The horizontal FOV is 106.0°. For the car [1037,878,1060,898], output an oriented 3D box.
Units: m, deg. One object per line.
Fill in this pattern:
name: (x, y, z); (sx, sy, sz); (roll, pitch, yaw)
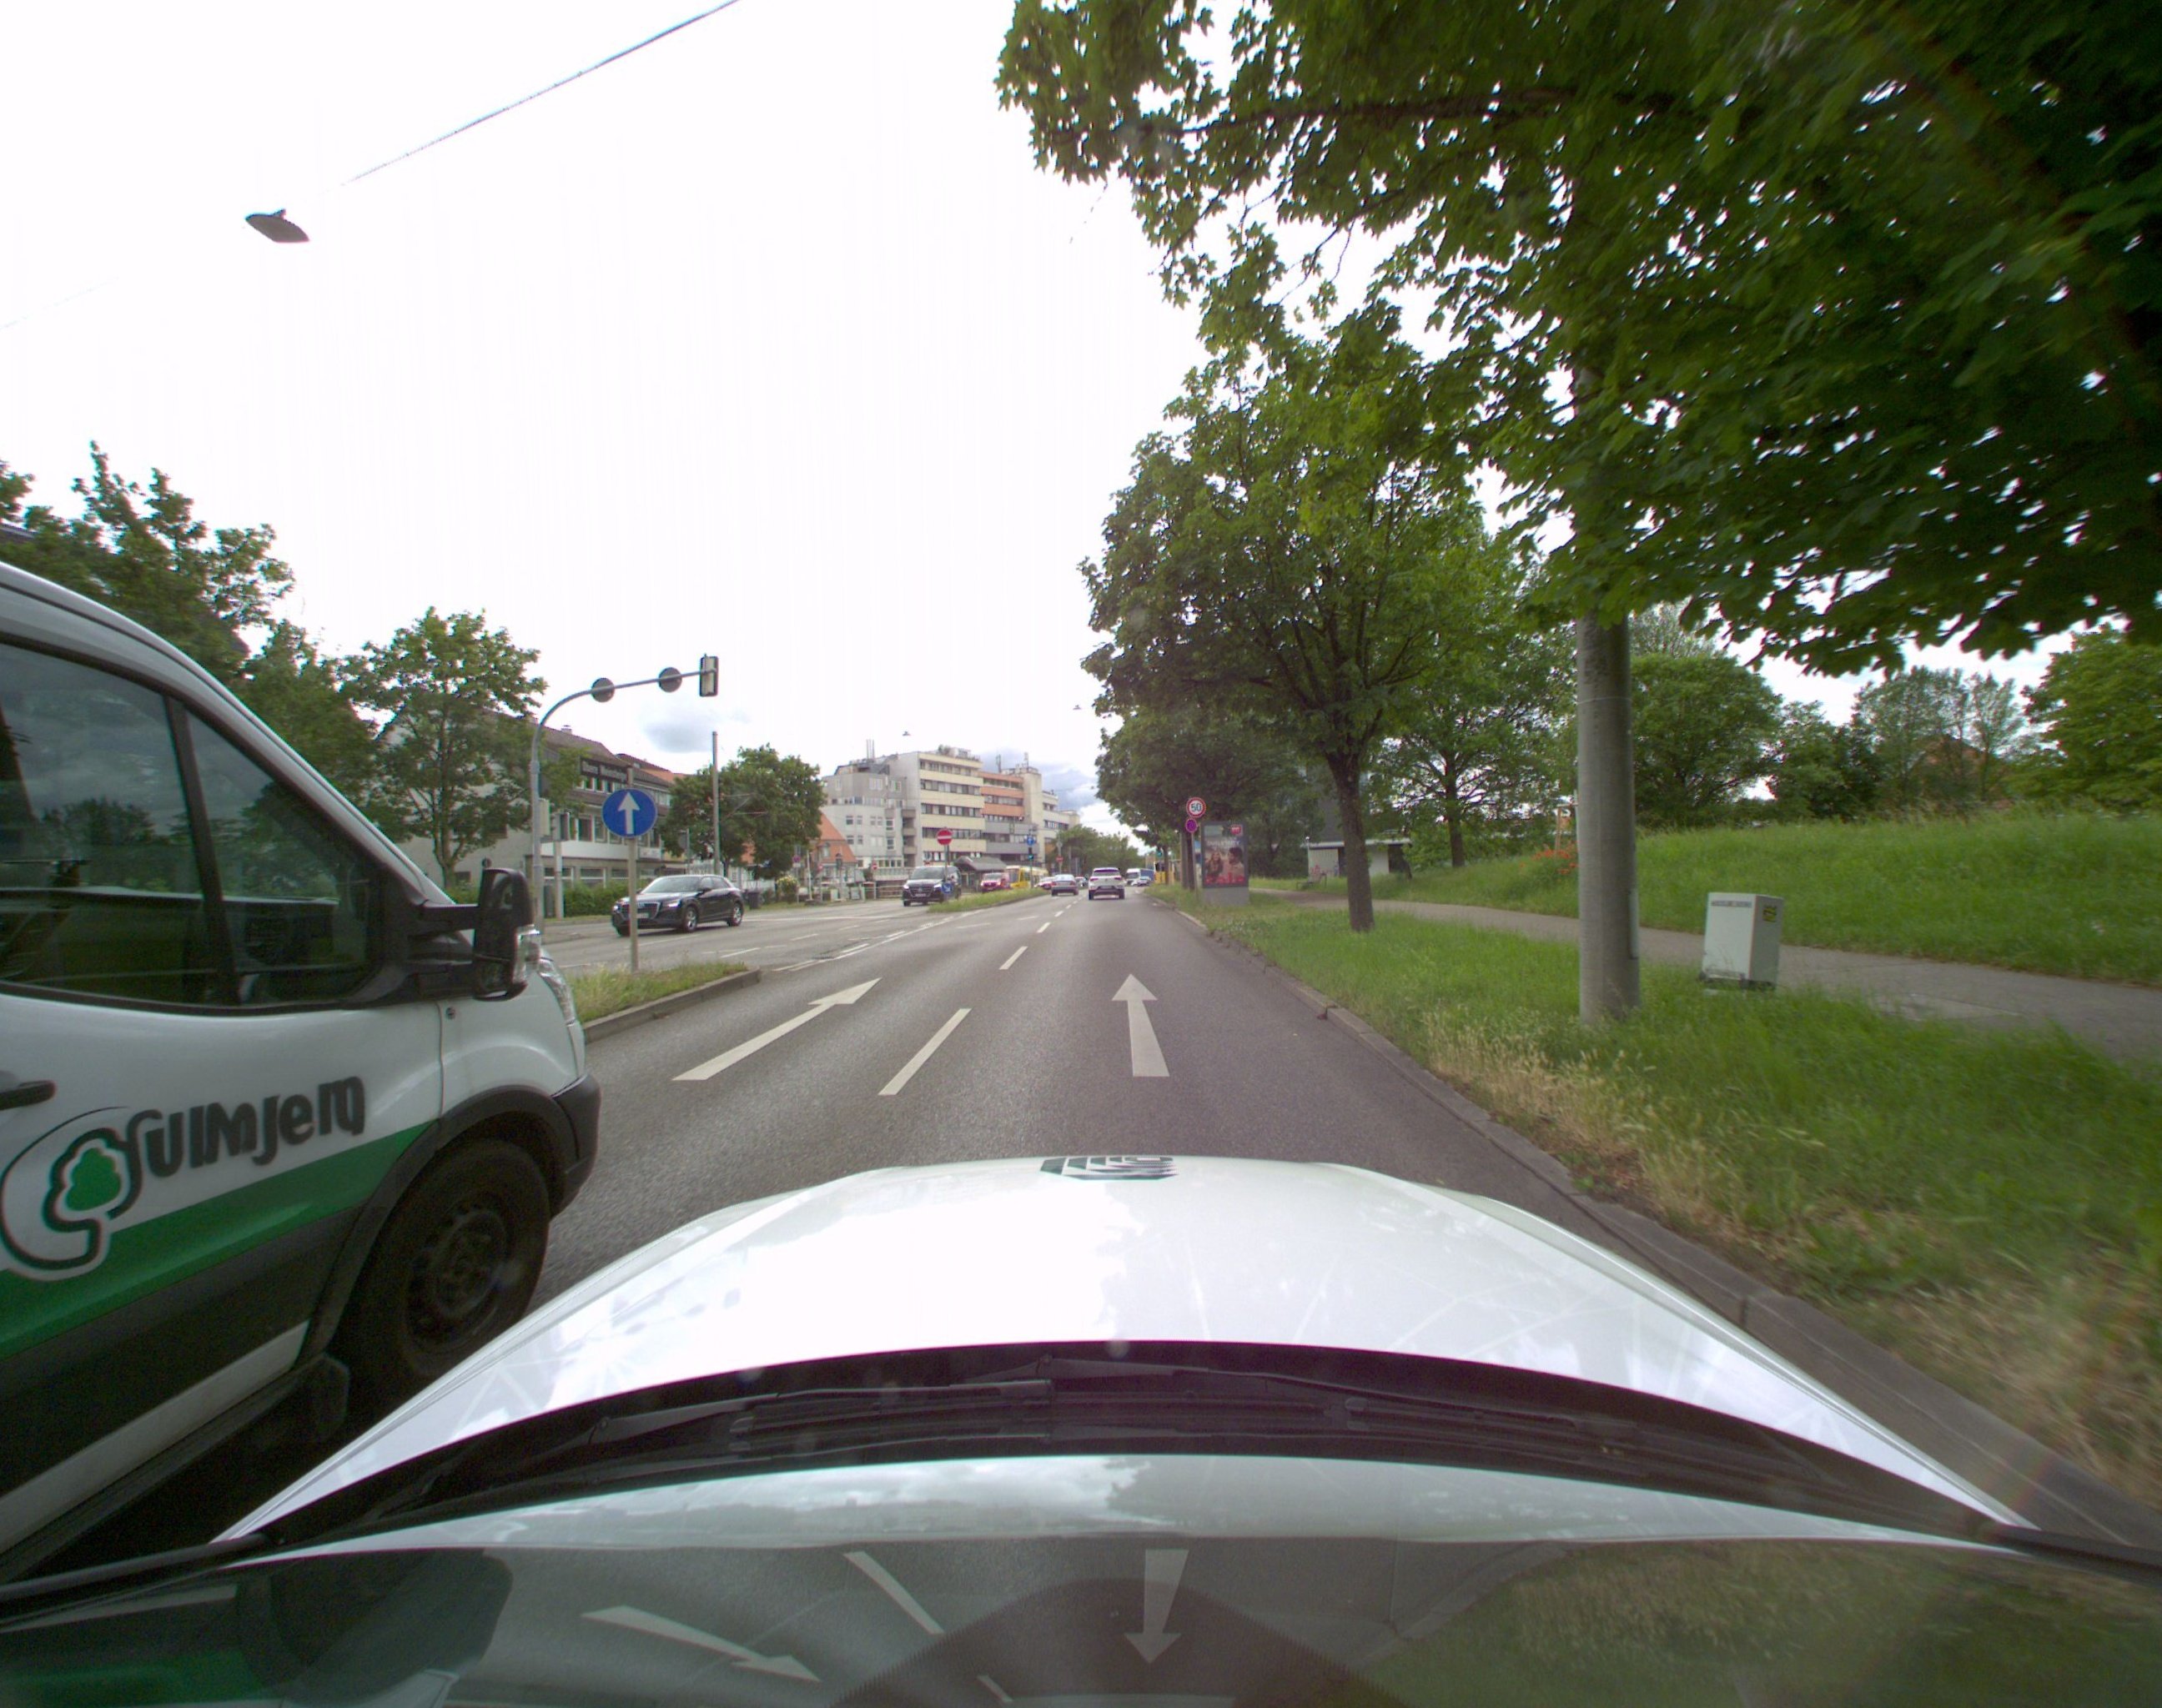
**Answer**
car: (-3.346, 3.547, 85.305); (1.986, 1.589, 4.839); (-1, 4, 2)

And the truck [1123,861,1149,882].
truck: (11.339, 3.563, 166.355); (2.934, 4.080, 16.655); (-2, -2, 12)

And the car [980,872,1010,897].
car: (-7.723, 2.712, 73.673); (1.986, 2.013, 4.838); (-1, 1, 2)

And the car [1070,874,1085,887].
car: (-0.381, 3.284, 100.881); (1.607, 1.446, 3.654); (-3, -3, 2)

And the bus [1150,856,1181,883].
bus: (10.749, 1.949, 103.168); (2.935, 3.191, 9.957); (-2, -2, 11)

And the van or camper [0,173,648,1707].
van or camper: (-2.835, 0.266, 0.169); (2.336, 2.662, 5.962); (-1, -1, -1)

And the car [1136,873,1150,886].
car: (8.614, 3.524, 113.952); (1.764, 1.570, 4.287); (-2, 1, 2)

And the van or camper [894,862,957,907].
van or camper: (-7.314, 1.405, 38.845); (1.920, 1.938, 5.248); (-1, -1, 1)

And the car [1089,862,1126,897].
car: (1.369, 1.235, 41.038); (1.692, 1.548, 3.741); (1, 1, 4)

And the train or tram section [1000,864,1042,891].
train or tram section: (-8.159, 3.219, 112.813); (2.544, 3.411, 13.116); (-3, -2, 10)

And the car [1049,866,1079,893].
car: (-1.096, 1.663, 53.942); (1.693, 1.515, 3.739); (-2, 2, 2)

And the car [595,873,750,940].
car: (-10.497, 1.290, 21.284); (1.854, 1.428, 4.002); (-2, 0, 2)
